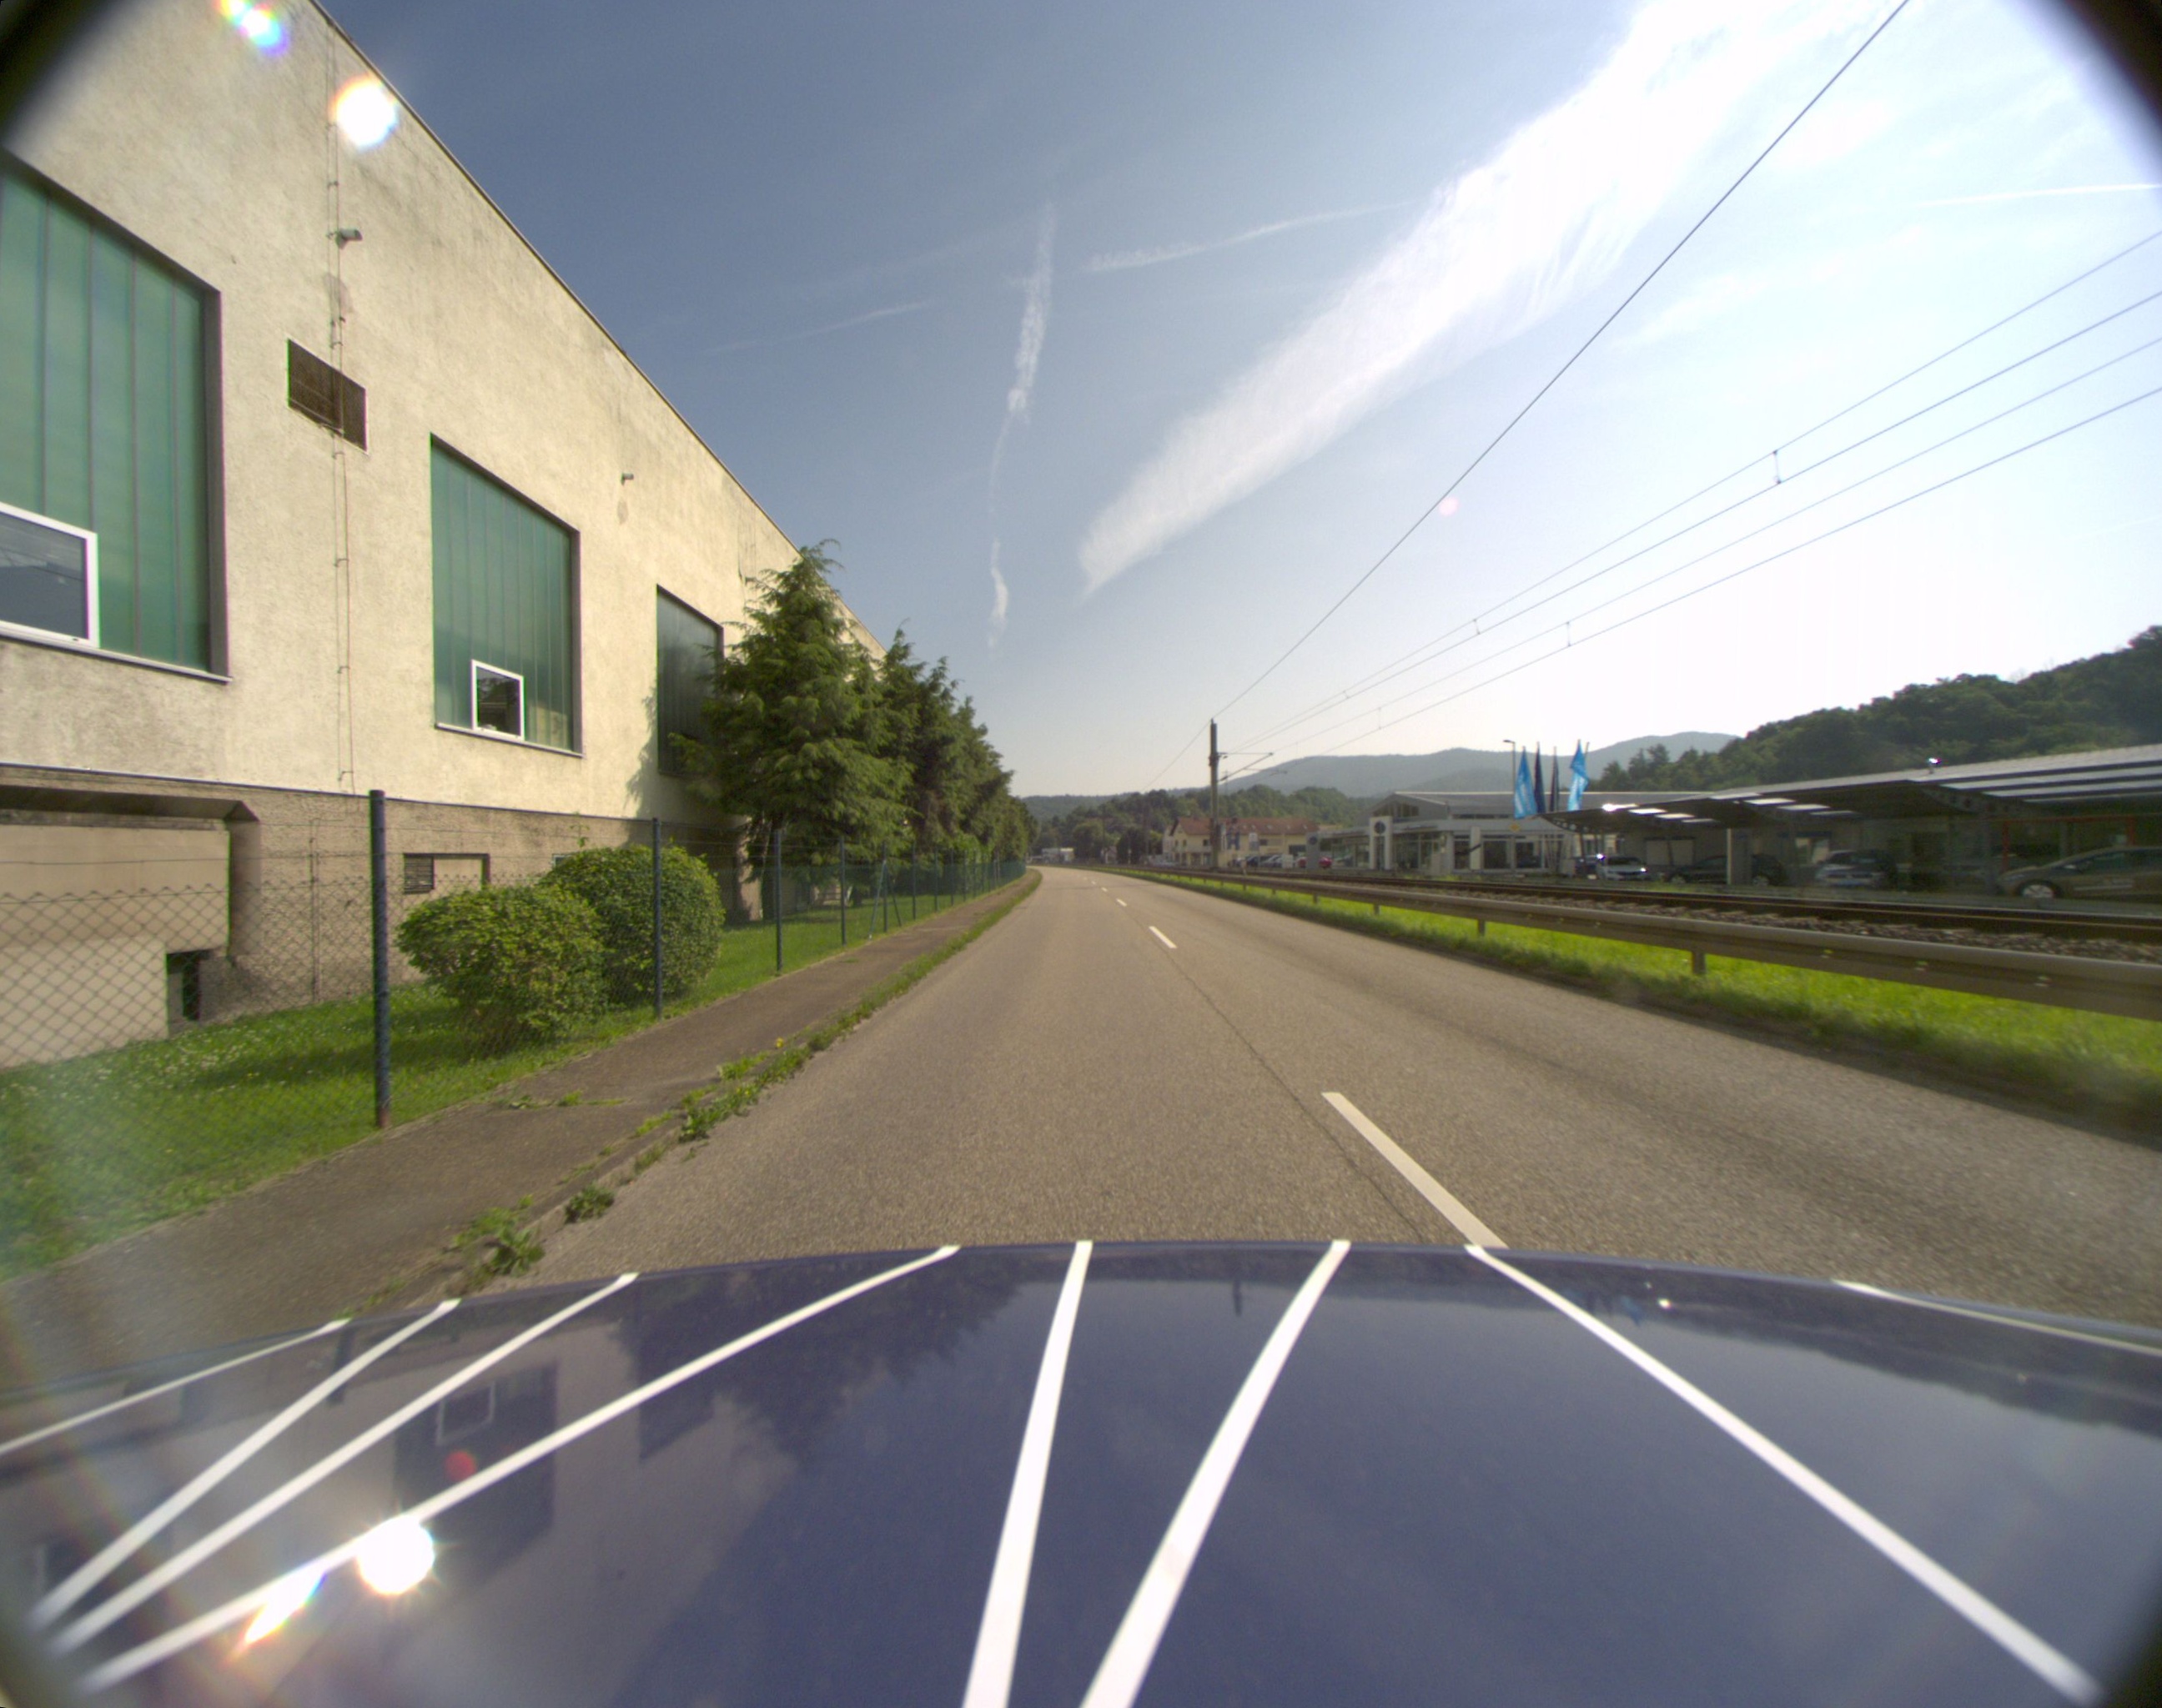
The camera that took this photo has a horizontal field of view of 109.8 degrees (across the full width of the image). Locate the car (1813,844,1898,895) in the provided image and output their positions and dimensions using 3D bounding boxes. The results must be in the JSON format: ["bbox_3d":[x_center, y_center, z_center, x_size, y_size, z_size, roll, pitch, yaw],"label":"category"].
[{"bbox_3d":[27.672,0.534,27.112,4.278,1.519,1.842,-4,1,-41],"label":"car"}]

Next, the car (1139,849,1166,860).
[{"bbox_3d":[16.196,0.116,171.890,5.589,2.402,2.235,-1,0,-6],"label":"car"}]

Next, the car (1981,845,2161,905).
[{"bbox_3d":[27.625,0.540,20.403,1.851,1.496,4.422,-1,0,-38],"label":"car"}]

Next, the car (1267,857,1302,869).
[{"bbox_3d":[26.343,1.151,98.259,3.998,1.451,1.760,0,0,-3],"label":"car"}]

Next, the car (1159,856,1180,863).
[{"bbox_3d":[17.755,1.094,152.982,3.858,1.292,1.647,-1,0,-8],"label":"car"}]

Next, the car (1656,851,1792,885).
[{"bbox_3d":[27.347,0.589,32.409,1.851,1.334,4.196,-1,0,-42],"label":"car"}]

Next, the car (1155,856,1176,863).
[{"bbox_3d":[17.262,1.120,155.563,3.858,1.292,1.647,-1,0,-8],"label":"car"}]

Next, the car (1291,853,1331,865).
[{"bbox_3d":[26.372,0.532,87.130,4.000,1.367,1.860,0,0,-9],"label":"car"}]

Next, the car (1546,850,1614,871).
[{"bbox_3d":[36.271,0.456,55.288,3.999,1.412,1.619,-1,0,-5],"label":"car"}]

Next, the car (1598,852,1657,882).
[{"bbox_3d":[26.830,0.609,37.417,1.842,1.377,4.531,-1,0,29],"label":"car"}]

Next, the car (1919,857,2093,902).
[{"bbox_3d":[33.232,0.878,27.368,4.175,1.496,1.908,-1,0,-4],"label":"car"}]

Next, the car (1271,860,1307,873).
[{"bbox_3d":[25.897,1.550,94.581,3.998,1.451,1.760,0,0,-3],"label":"car"}]

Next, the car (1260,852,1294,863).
[{"bbox_3d":[25.836,0.450,100.221,3.998,1.451,1.760,0,0,-3],"label":"car"}]

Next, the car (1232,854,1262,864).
[{"bbox_3d":[24.132,0.754,110.540,3.998,1.451,1.760,0,0,-3],"label":"car"}]
